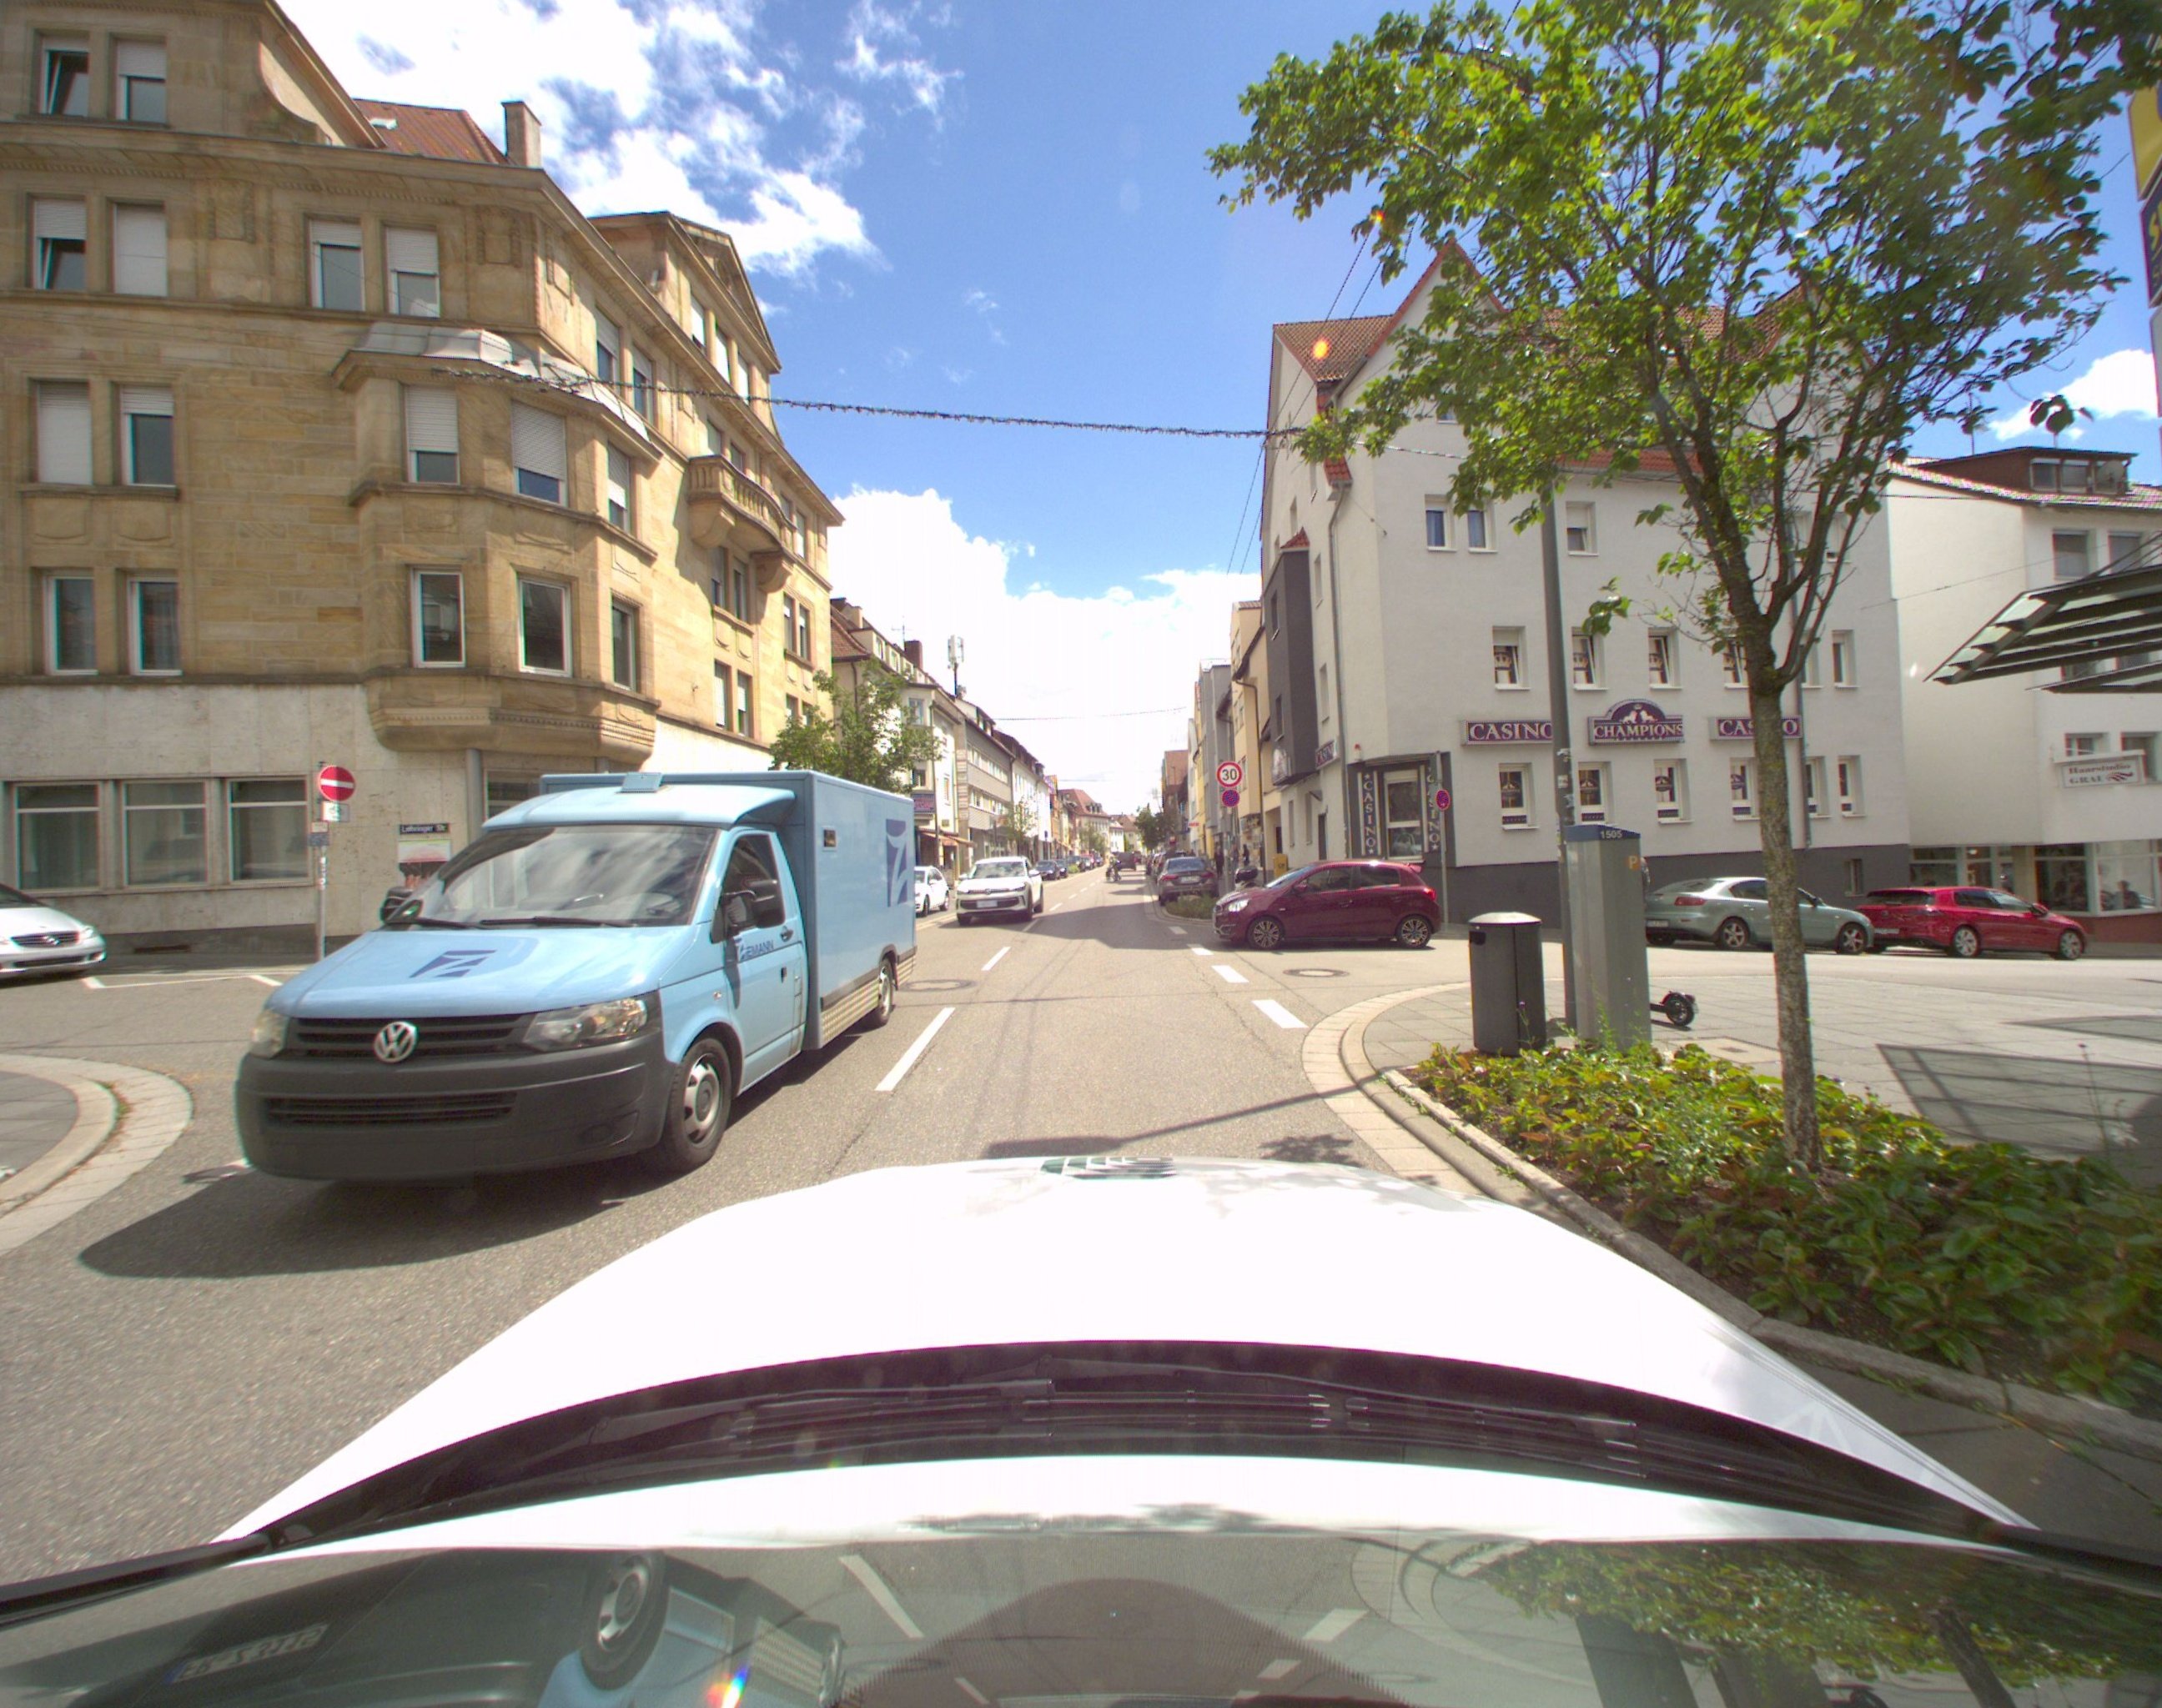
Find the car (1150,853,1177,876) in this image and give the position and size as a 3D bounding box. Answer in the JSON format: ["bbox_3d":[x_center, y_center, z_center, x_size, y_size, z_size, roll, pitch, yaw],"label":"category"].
[{"bbox_3d":[5.716,0.735,56.729,1.681,1.574,3.760,-1,-1,4],"label":"car"}]

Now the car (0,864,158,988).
[{"bbox_3d":[-15.759,0.920,10.899,4.199,1.561,1.996,0,-1,-6],"label":"car"}]

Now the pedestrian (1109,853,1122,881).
[{"bbox_3d":[2.053,0.772,48.587,0.729,1.618,0.651,-1,-1,-1],"label":"pedestrian"}]

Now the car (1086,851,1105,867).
[{"bbox_3d":[1.759,0.624,95.236,1.807,1.755,4.470,-1,-1,6],"label":"car"}]

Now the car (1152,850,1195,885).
[{"bbox_3d":[4.642,0.656,41.305,1.792,1.603,4.207,-4,0,3],"label":"car"}]

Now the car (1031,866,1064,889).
[{"bbox_3d":[-2.389,1.700,59.286,1.782,1.513,4.717,-2,-1,4],"label":"car"}]

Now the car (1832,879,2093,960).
[{"bbox_3d":[18.215,1.327,16.915,3.822,1.399,1.844,3,-2,-8],"label":"car"}]

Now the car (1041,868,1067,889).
[{"bbox_3d":[-2.110,1.902,64.054,1.784,1.503,4.178,-1,0,1],"label":"car"}]

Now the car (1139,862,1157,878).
[{"bbox_3d":[6.719,1.610,81.694,1.714,1.577,4.112,-1,-1,3],"label":"car"}]

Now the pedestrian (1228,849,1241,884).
[{"bbox_3d":[7.429,0.609,39.495,0.533,1.718,0.606,-1,-1,2],"label":"pedestrian"}]

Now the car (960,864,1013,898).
[{"bbox_3d":[-4.151,1.162,36.096,1.578,1.414,3.673,-1,-1,5],"label":"car"}]

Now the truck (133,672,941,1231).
[{"bbox_3d":[-2.822,0.459,6.637,2.099,2.305,6.476,-1,-1,1],"label":"truck"}]

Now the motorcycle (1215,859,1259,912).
[{"bbox_3d":[3.927,0.764,20.666,0.656,1.259,2.376,-1,-1,0],"label":"motorcycle"}]

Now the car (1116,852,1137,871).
[{"bbox_3d":[4.551,0.765,81.422,2.032,1.848,5.003,-1,-1,3],"label":"car"}]

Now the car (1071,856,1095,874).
[{"bbox_3d":[0.264,1.079,82.174,1.806,1.755,4.677,-1,-1,7],"label":"car"}]

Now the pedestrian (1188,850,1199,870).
[{"bbox_3d":[8.834,0.498,63.769,0.746,1.553,0.726,-3,-1,3],"label":"pedestrian"}]

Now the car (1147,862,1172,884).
[{"bbox_3d":[5.874,1.388,61.198,1.682,1.472,4.528,-1,1,3],"label":"car"}]

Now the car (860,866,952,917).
[{"bbox_3d":[-5.220,1.079,24.832,1.839,1.398,4.037,-1,-1,1],"label":"car"}]

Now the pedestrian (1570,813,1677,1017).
[{"bbox_3d":[4.696,0.513,7.071,0.569,1.703,0.481,-1,-1,-3],"label":"pedestrian"}]

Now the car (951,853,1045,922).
[{"bbox_3d":[-2.080,0.835,21.457,1.780,1.640,4.120,-1,-1,4],"label":"car"}]

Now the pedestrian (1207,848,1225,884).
[{"bbox_3d":[6.651,0.598,40.240,0.740,1.718,0.656,-2,-1,2],"label":"pedestrian"}]

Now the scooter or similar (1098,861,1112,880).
[{"bbox_3d":[1.424,0.975,48.559,0.779,1.126,0.630,-1,-1,-1],"label":"scooter or similar"}]

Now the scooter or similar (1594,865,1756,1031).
[{"bbox_3d":[5.005,0.737,6.945,0.429,1.280,1.249,-1,-1,-1],"label":"scooter or similar"}]

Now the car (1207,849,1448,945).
[{"bbox_3d":[4.135,0.720,14.081,3.731,1.530,1.538,-1,-1,2],"label":"car"}]

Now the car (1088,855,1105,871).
[{"bbox_3d":[2.024,1.130,102.948,1.807,1.889,4.847,-1,-1,5],"label":"car"}]

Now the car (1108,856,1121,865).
[{"bbox_3d":[5.579,1.088,134.335,1.896,1.563,4.651,-1,-1,5],"label":"car"}]

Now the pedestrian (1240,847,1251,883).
[{"bbox_3d":[7.849,0.537,38.894,0.434,1.718,0.537,-1,-1,1],"label":"pedestrian"}]

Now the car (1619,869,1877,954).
[{"bbox_3d":[13.187,1.115,16.222,3.876,1.399,1.844,3,-2,-8],"label":"car"}]

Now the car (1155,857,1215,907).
[{"bbox_3d":[3.261,0.841,25.700,1.698,1.420,4.326,-1,-1,7],"label":"car"}]

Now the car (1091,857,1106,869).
[{"bbox_3d":[2.532,1.235,115.359,1.791,1.598,4.394,-2,0,4],"label":"car"}]

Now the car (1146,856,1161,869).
[{"bbox_3d":[9.052,1.062,101.462,1.713,1.494,4.115,-1,-1,6],"label":"car"}]

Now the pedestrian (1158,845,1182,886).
[{"bbox_3d":[4.217,0.545,38.828,0.971,1.863,0.865,-4,-1,2],"label":"pedestrian"}]
